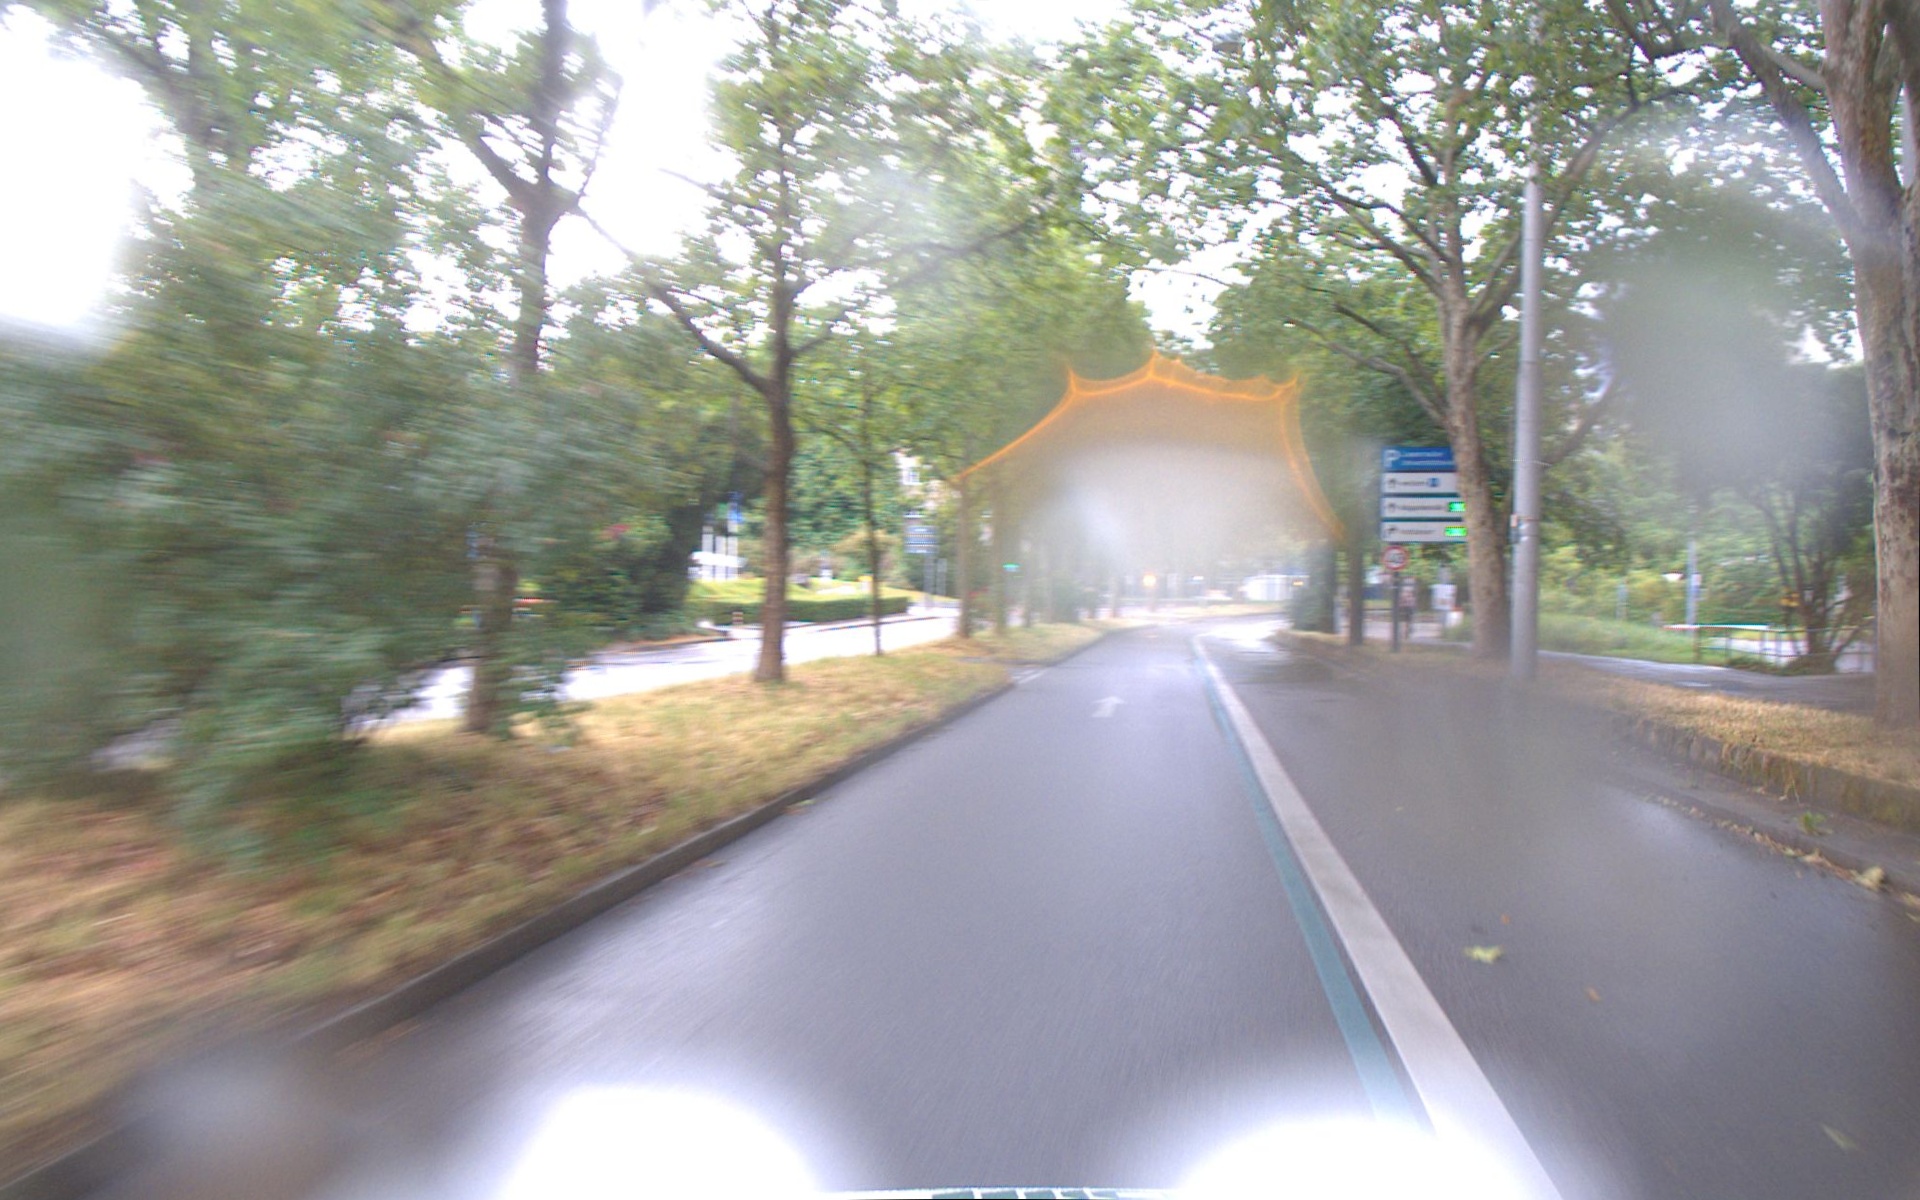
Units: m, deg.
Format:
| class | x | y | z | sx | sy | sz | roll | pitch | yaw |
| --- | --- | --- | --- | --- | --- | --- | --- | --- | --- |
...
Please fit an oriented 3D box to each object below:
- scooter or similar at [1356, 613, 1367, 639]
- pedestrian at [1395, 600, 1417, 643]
| class | x | y | z | sx | sy | sz | roll | pitch | yaw |
| --- | --- | --- | --- | --- | --- | --- | --- | --- | --- |
| scooter or similar | 16.853 | 1.097 | 69.396 | 0.286 | 1.043 | 1.066 | 1 | 0 | 6 |
| pedestrian | 17.757 | 0.861 | 65.883 | 0.688 | 1.667 | 0.935 | 1 | 0 | 6 |
